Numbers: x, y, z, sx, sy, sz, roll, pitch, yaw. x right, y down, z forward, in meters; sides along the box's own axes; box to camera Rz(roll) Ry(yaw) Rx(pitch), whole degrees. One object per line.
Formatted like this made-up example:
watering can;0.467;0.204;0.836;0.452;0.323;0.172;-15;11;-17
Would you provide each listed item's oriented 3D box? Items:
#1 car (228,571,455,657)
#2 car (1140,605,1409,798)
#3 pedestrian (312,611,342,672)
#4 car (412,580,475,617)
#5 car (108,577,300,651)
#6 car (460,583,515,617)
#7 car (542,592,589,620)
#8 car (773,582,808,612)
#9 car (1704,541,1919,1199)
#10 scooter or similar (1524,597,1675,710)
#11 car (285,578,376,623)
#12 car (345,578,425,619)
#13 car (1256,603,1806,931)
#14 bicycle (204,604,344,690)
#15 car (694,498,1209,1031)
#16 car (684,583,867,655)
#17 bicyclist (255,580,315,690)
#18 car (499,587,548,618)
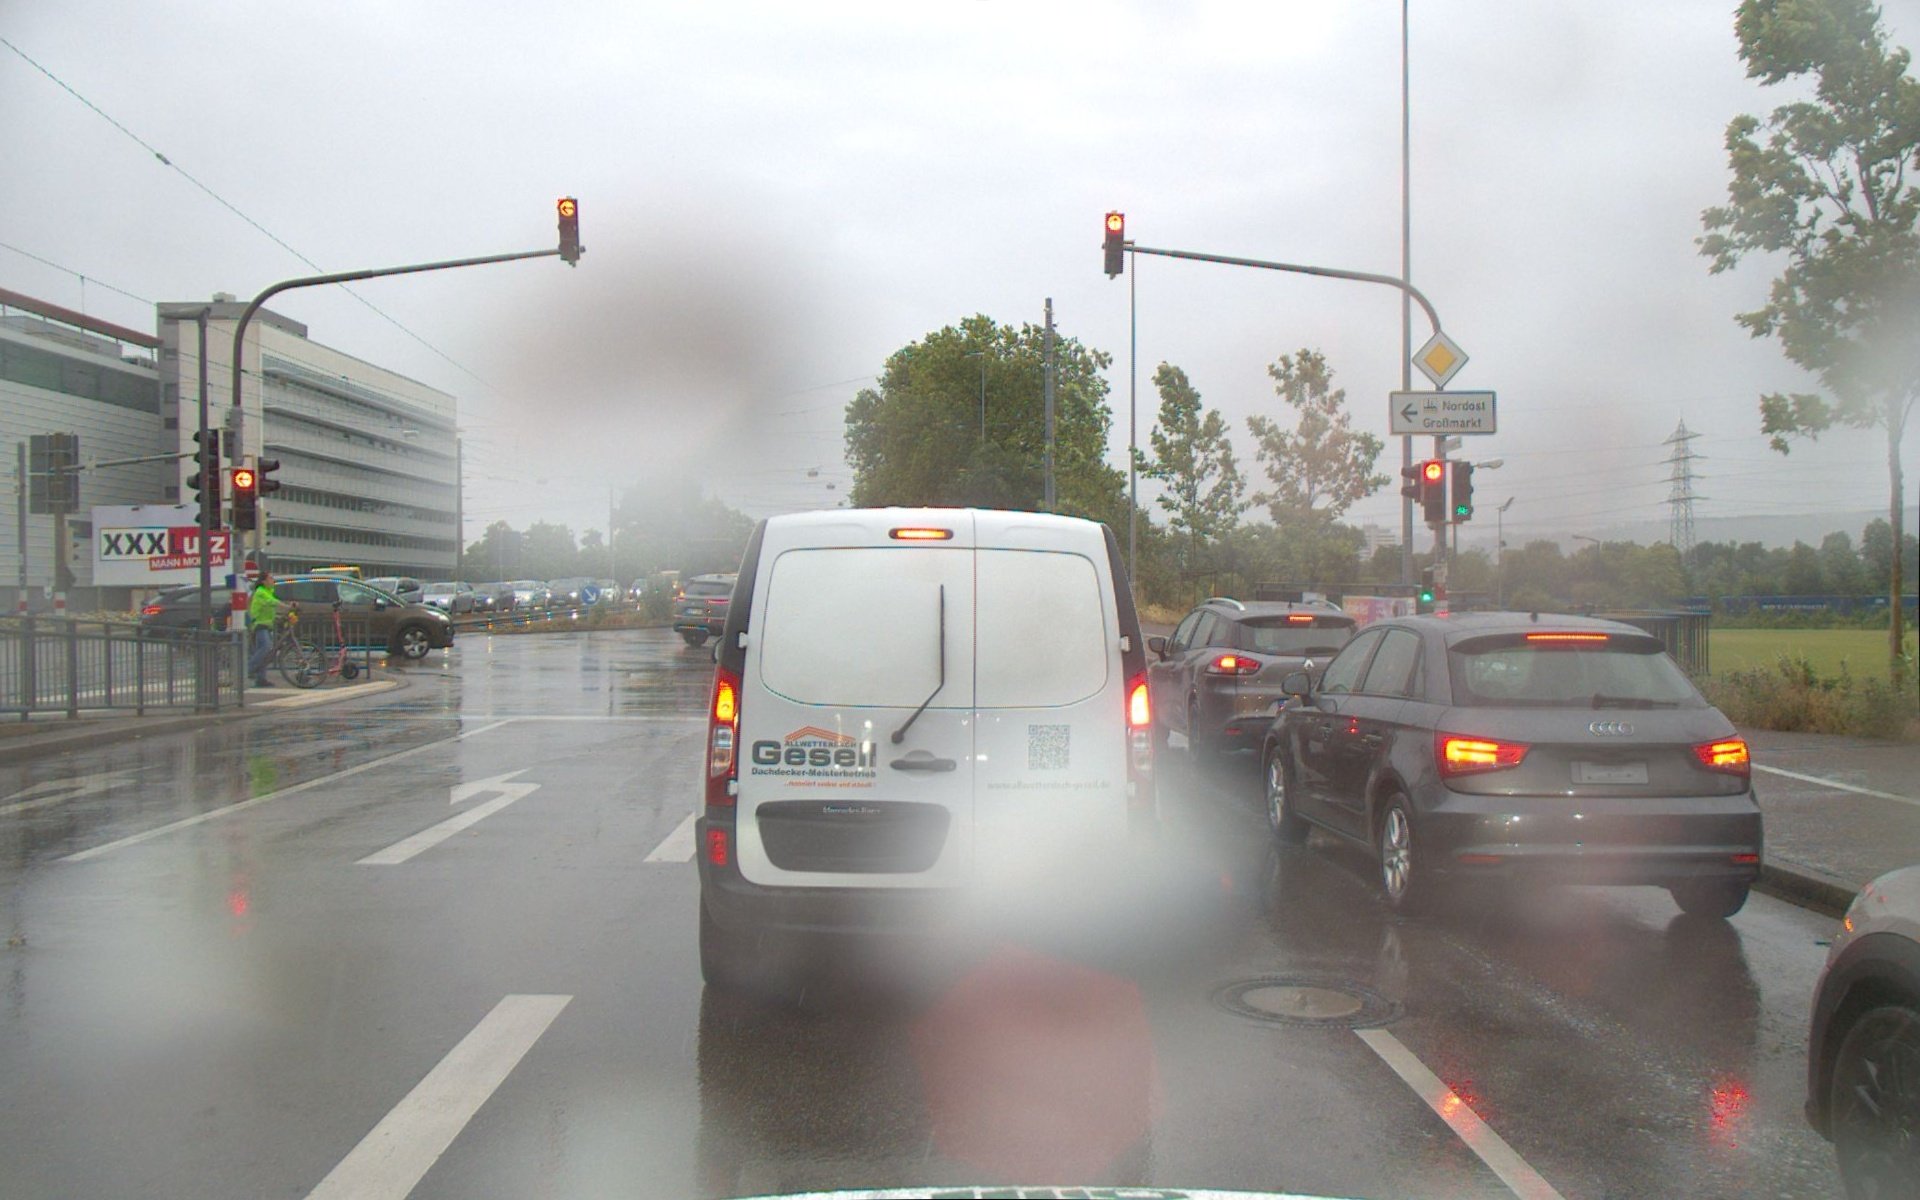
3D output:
car;-12.030;0.278;32.227;3.873;1.422;1.519;4;0;-32
car;2.802;0.842;15.554;1.650;1.534;3.919;1;0;-2
pedestrian;-9.693;0.637;25.334;0.309;0.913;0.380;2;0;-3
car;-21.818;-0.048;69.978;1.528;1.451;3.568;2;-1;-1
car;-16.544;0.333;36.310;1.619;1.422;3.439;4;0;37
car;-21.979;0.016;77.056;1.528;1.451;3.568;2;-1;-1
car;-21.659;0.327;90.915;1.676;1.451;3.808;2;-1;-1
car;-10.267;-0.148;100.544;1.909;1.691;4.460;2;-1;-4
car;2.948;0.630;2.621;1.668;1.534;3.877;2;-3;-2
scooter or similar;7.640;0.593;19.935;0.676;1.232;3.020;0;0;0
car;-21.585;0.039;56.840;1.676;1.451;3.808;2;-1;-1
car;-21.763;-0.026;62.743;1.676;1.451;3.808;2;-1;-1
car;2.804;0.749;8.979;1.565;1.390;3.628;-1;-1;-3
bicycle;-9.621;0.654;23.235;1.745;1.157;0.512;1;0;-43
car;-0.169;0.524;7.664;1.719;1.780;4.166;1;1;-4
car;-4.298;0.484;39.179;1.680;1.528;4.492;2;-1;36
bicyclist;-9.518;0.485;23.335;0.600;1.517;0.591;2;0;-41
car;-22.020;0.132;83.542;1.528;1.451;3.568;2;-1;-1
